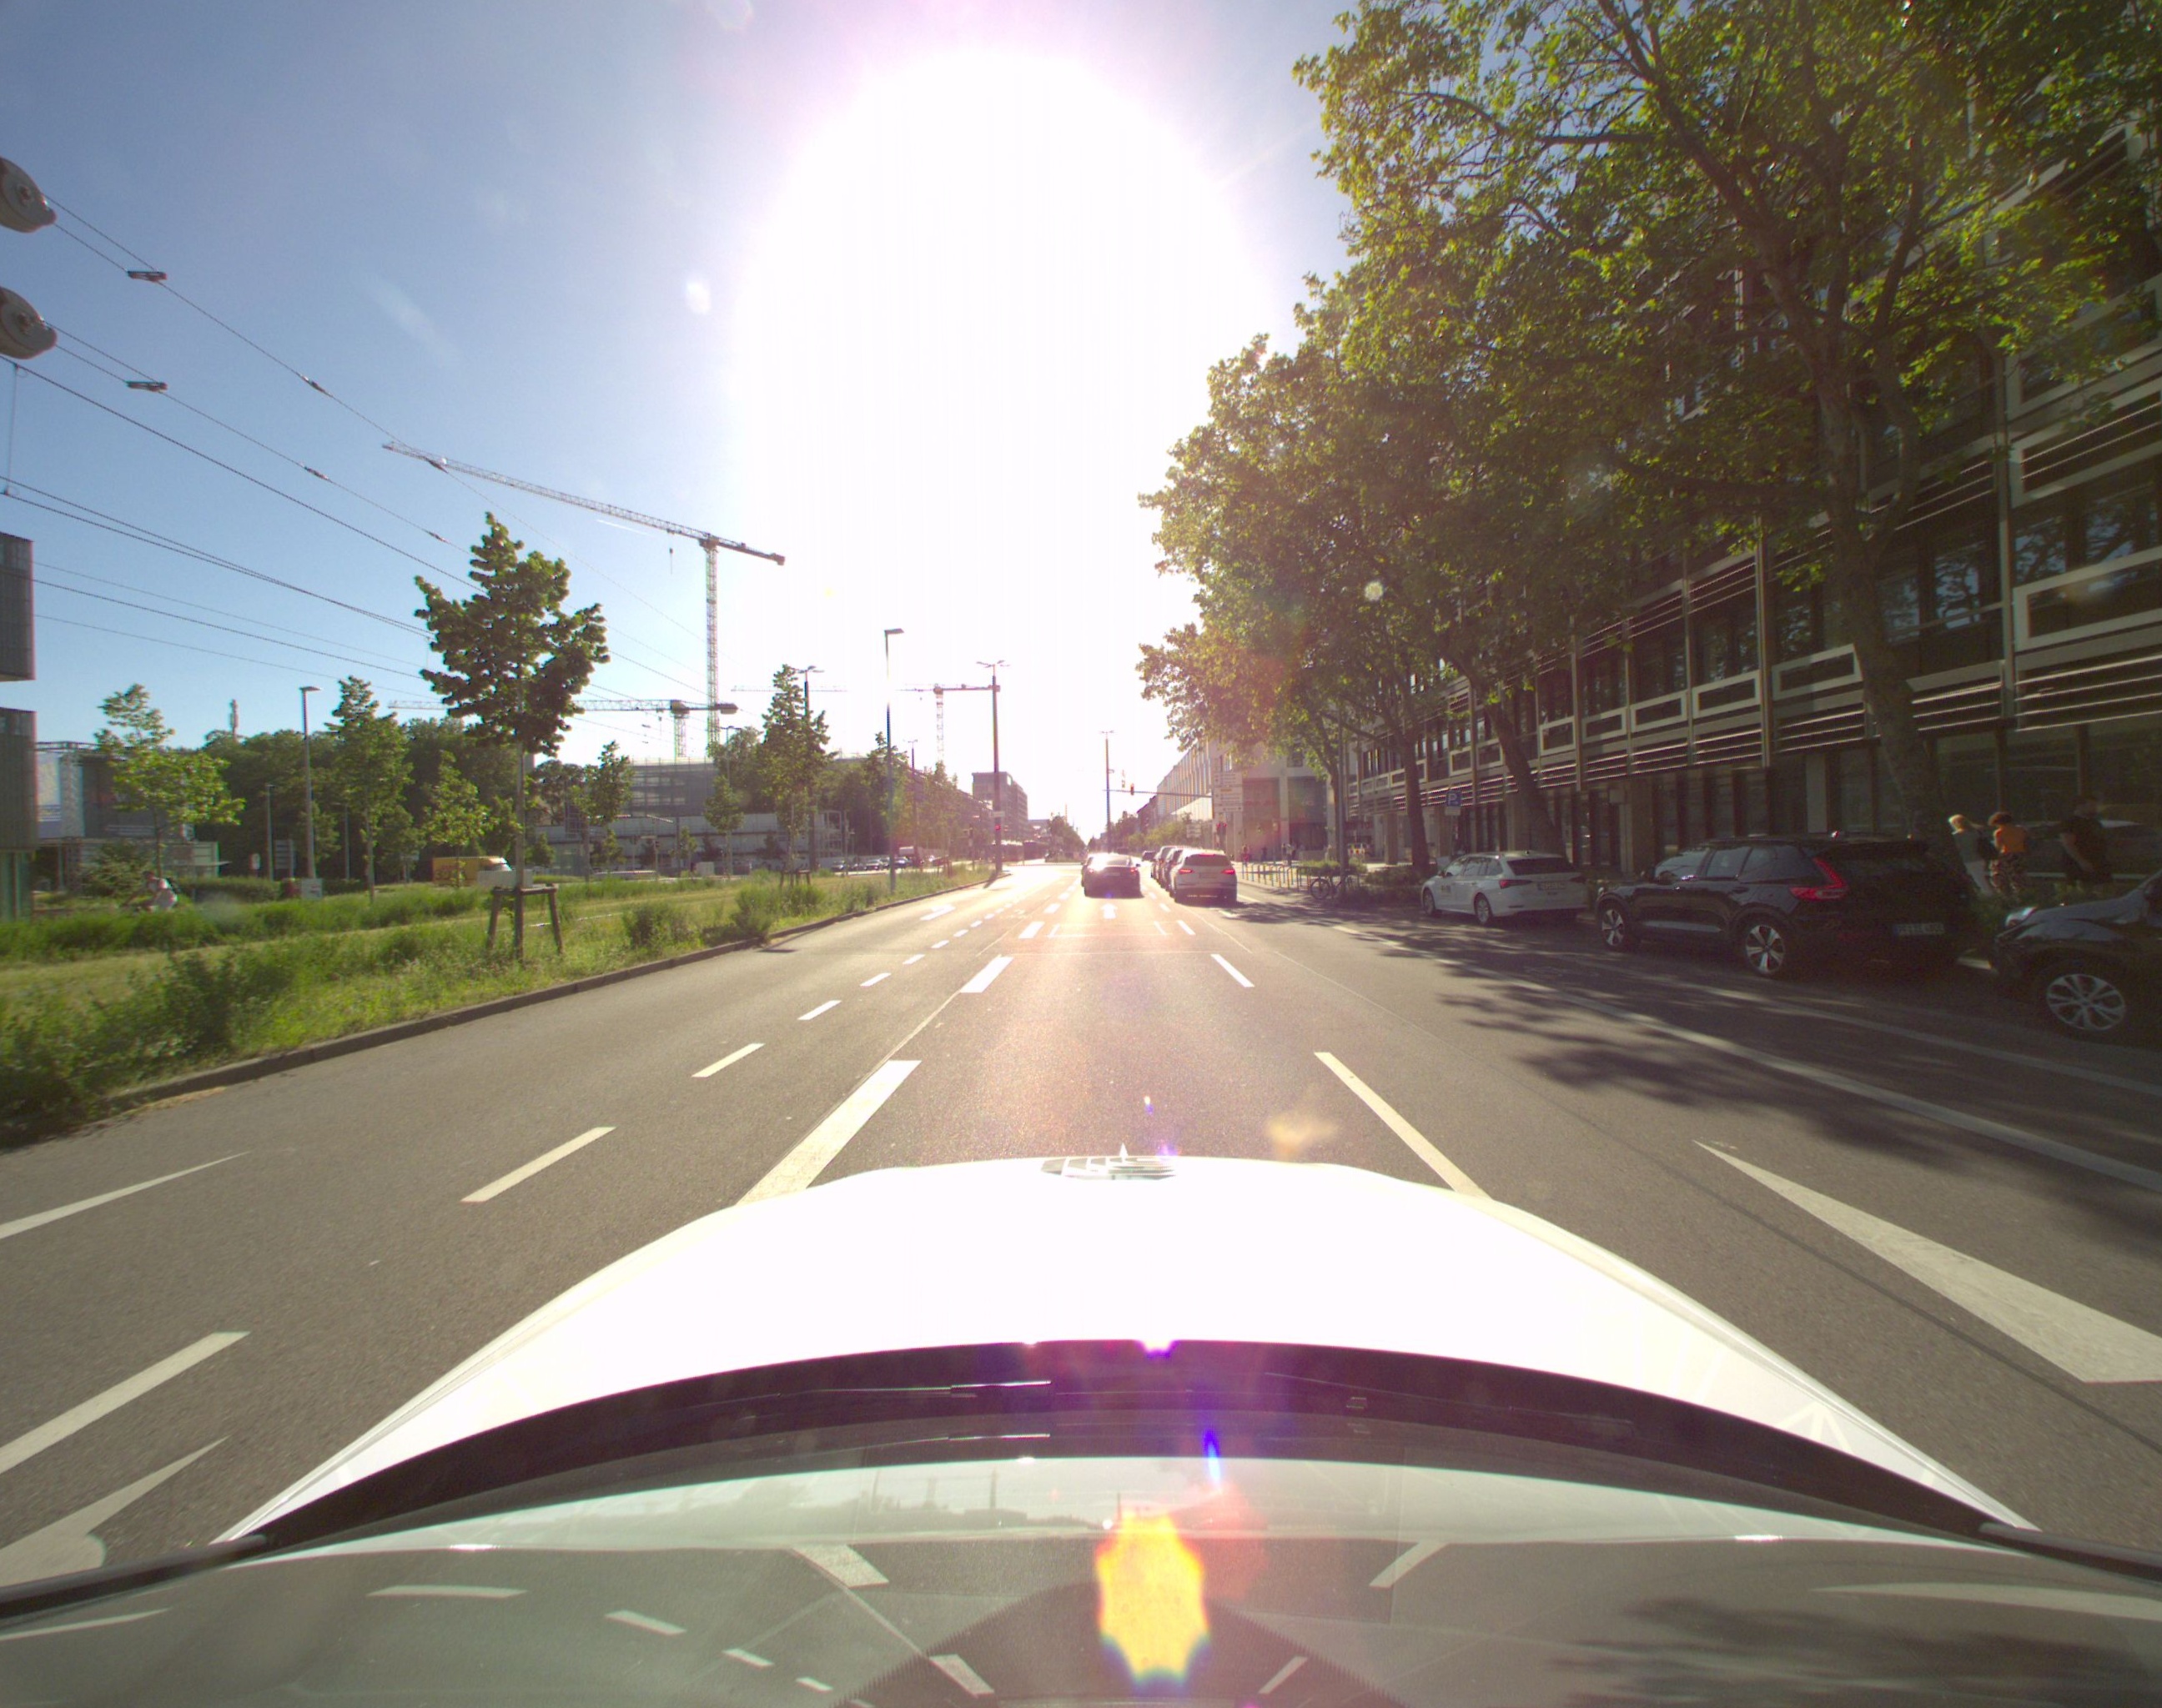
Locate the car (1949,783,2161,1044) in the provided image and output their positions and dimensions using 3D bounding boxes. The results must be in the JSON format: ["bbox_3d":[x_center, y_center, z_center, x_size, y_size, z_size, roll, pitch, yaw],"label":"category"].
[{"bbox_3d":[8.187,0.367,4.796,1.697,1.790,4.194,-4,0,2],"label":"car"}]

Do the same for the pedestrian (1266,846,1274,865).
[{"bbox_3d":[14.378,0.134,61.931,0.559,1.440,0.633,0,-1,8],"label":"pedestrian"}]

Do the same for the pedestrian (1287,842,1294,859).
[{"bbox_3d":[18.379,-0.301,71.410,0.559,1.440,0.633,0,-1,8],"label":"pedestrian"}]

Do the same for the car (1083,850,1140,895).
[{"bbox_3d":[1.087,0.632,29.815,1.905,1.486,4.010,-1,0,1],"label":"car"}]

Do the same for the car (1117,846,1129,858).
[{"bbox_3d":[7.025,-0.304,137.565,1.986,2.014,4.002,0,-1,2],"label":"car"}]

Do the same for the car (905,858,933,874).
[{"bbox_3d":[-12.064,0.871,60.827,1.371,1.178,3.221,0,-1,1],"label":"car"}]

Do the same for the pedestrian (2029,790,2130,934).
[{"bbox_3d":[13.587,0.107,11.093,0.674,1.916,0.557,0,-1,1],"label":"pedestrian"}]

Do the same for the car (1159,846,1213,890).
[{"bbox_3d":[4.174,0.521,33.030,1.715,1.653,4.187,-1,0,1],"label":"car"}]

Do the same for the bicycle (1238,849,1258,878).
[{"bbox_3d":[8.557,0.496,41.796,0.560,1.440,2.576,0,-1,1],"label":"bicycle"}]

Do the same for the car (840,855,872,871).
[{"bbox_3d":[-16.931,0.706,61.390,1.371,1.178,3.221,0,-1,1],"label":"car"}]

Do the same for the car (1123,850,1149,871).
[{"bbox_3d":[3.949,0.461,58.630,1.715,1.431,4.189,-1,0,2],"label":"car"}]

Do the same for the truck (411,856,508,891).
[{"bbox_3d":[-54.587,1.717,71.612,6.940,2.963,2.000,0,-1,0],"label":"truck"}]

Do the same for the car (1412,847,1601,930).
[{"bbox_3d":[8.751,0.617,17.258,1.697,1.492,4.602,-1,0,2],"label":"car"}]

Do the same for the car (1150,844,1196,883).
[{"bbox_3d":[4.410,0.420,39.600,1.716,1.782,4.186,-1,0,0],"label":"car"}]

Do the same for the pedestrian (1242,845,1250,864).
[{"bbox_3d":[12.890,0.059,63.581,0.559,1.440,0.633,0,-1,8],"label":"pedestrian"}]

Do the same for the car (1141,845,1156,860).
[{"bbox_3d":[9.377,-0.249,113.409,1.986,2.014,4.002,0,-1,2],"label":"car"}]

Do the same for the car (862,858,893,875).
[{"bbox_3d":[-14.948,0.905,59.876,1.371,1.178,3.221,0,-1,1],"label":"car"}]

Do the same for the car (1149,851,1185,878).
[{"bbox_3d":[4.821,0.556,46.193,1.715,1.431,4.189,-1,0,2],"label":"car"}]

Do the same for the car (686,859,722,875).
[{"bbox_3d":[-38.242,1.333,82.720,1.704,1.556,4.002,0,-1,2],"label":"car"}]

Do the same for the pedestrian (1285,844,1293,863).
[{"bbox_3d":[16.394,-0.025,64.204,0.559,1.440,0.633,0,-1,8],"label":"pedestrian"}]

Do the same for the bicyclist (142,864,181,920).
[{"bbox_3d":[-24.092,0.986,21.336,0.393,1.454,0.539,0,0,1],"label":"bicyclist"}]

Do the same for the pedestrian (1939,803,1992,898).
[{"bbox_3d":[15.005,-0.057,13.818,0.314,1.584,0.500,-1,0,-7],"label":"pedestrian"}]

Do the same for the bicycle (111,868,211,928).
[{"bbox_3d":[-24.096,1.119,21.381,0.359,1.455,1.914,-1,0,2],"label":"bicycle"}]

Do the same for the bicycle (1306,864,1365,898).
[{"bbox_3d":[7.988,0.850,25.565,1.689,0.957,0.478,-3,0,-3],"label":"bicycle"}]

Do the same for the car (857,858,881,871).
[{"bbox_3d":[-26.401,1.342,101.452,1.831,1.612,3.896,0,-1,1],"label":"car"}]

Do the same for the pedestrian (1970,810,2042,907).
[{"bbox_3d":[15.739,0.075,13.872,0.551,1.603,0.573,-1,0,2],"label":"pedestrian"}]

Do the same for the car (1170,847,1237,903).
[{"bbox_3d":[3.841,0.593,26.153,1.714,1.618,4.190,-1,0,3],"label":"car"}]

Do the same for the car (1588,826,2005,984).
[{"bbox_3d":[8.551,0.510,10.348,1.697,1.563,4.194,-1,0,2],"label":"car"}]

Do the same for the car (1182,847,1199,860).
[{"bbox_3d":[14.016,-0.042,104.205,1.657,1.649,3.700,0,-1,0],"label":"car"}]

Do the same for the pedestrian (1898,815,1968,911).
[{"bbox_3d":[14.463,0.152,13.839,0.505,1.584,0.633,-1,0,-7],"label":"pedestrian"}]

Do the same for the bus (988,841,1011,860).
[{"bbox_3d":[-12.007,-0.486,121.132,2.620,2.783,8.840,0,-1,-1],"label":"bus"}]

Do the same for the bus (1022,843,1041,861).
[{"bbox_3d":[-8.374,-0.262,138.062,2.620,2.959,9.894,0,-1,-1],"label":"bus"}]
